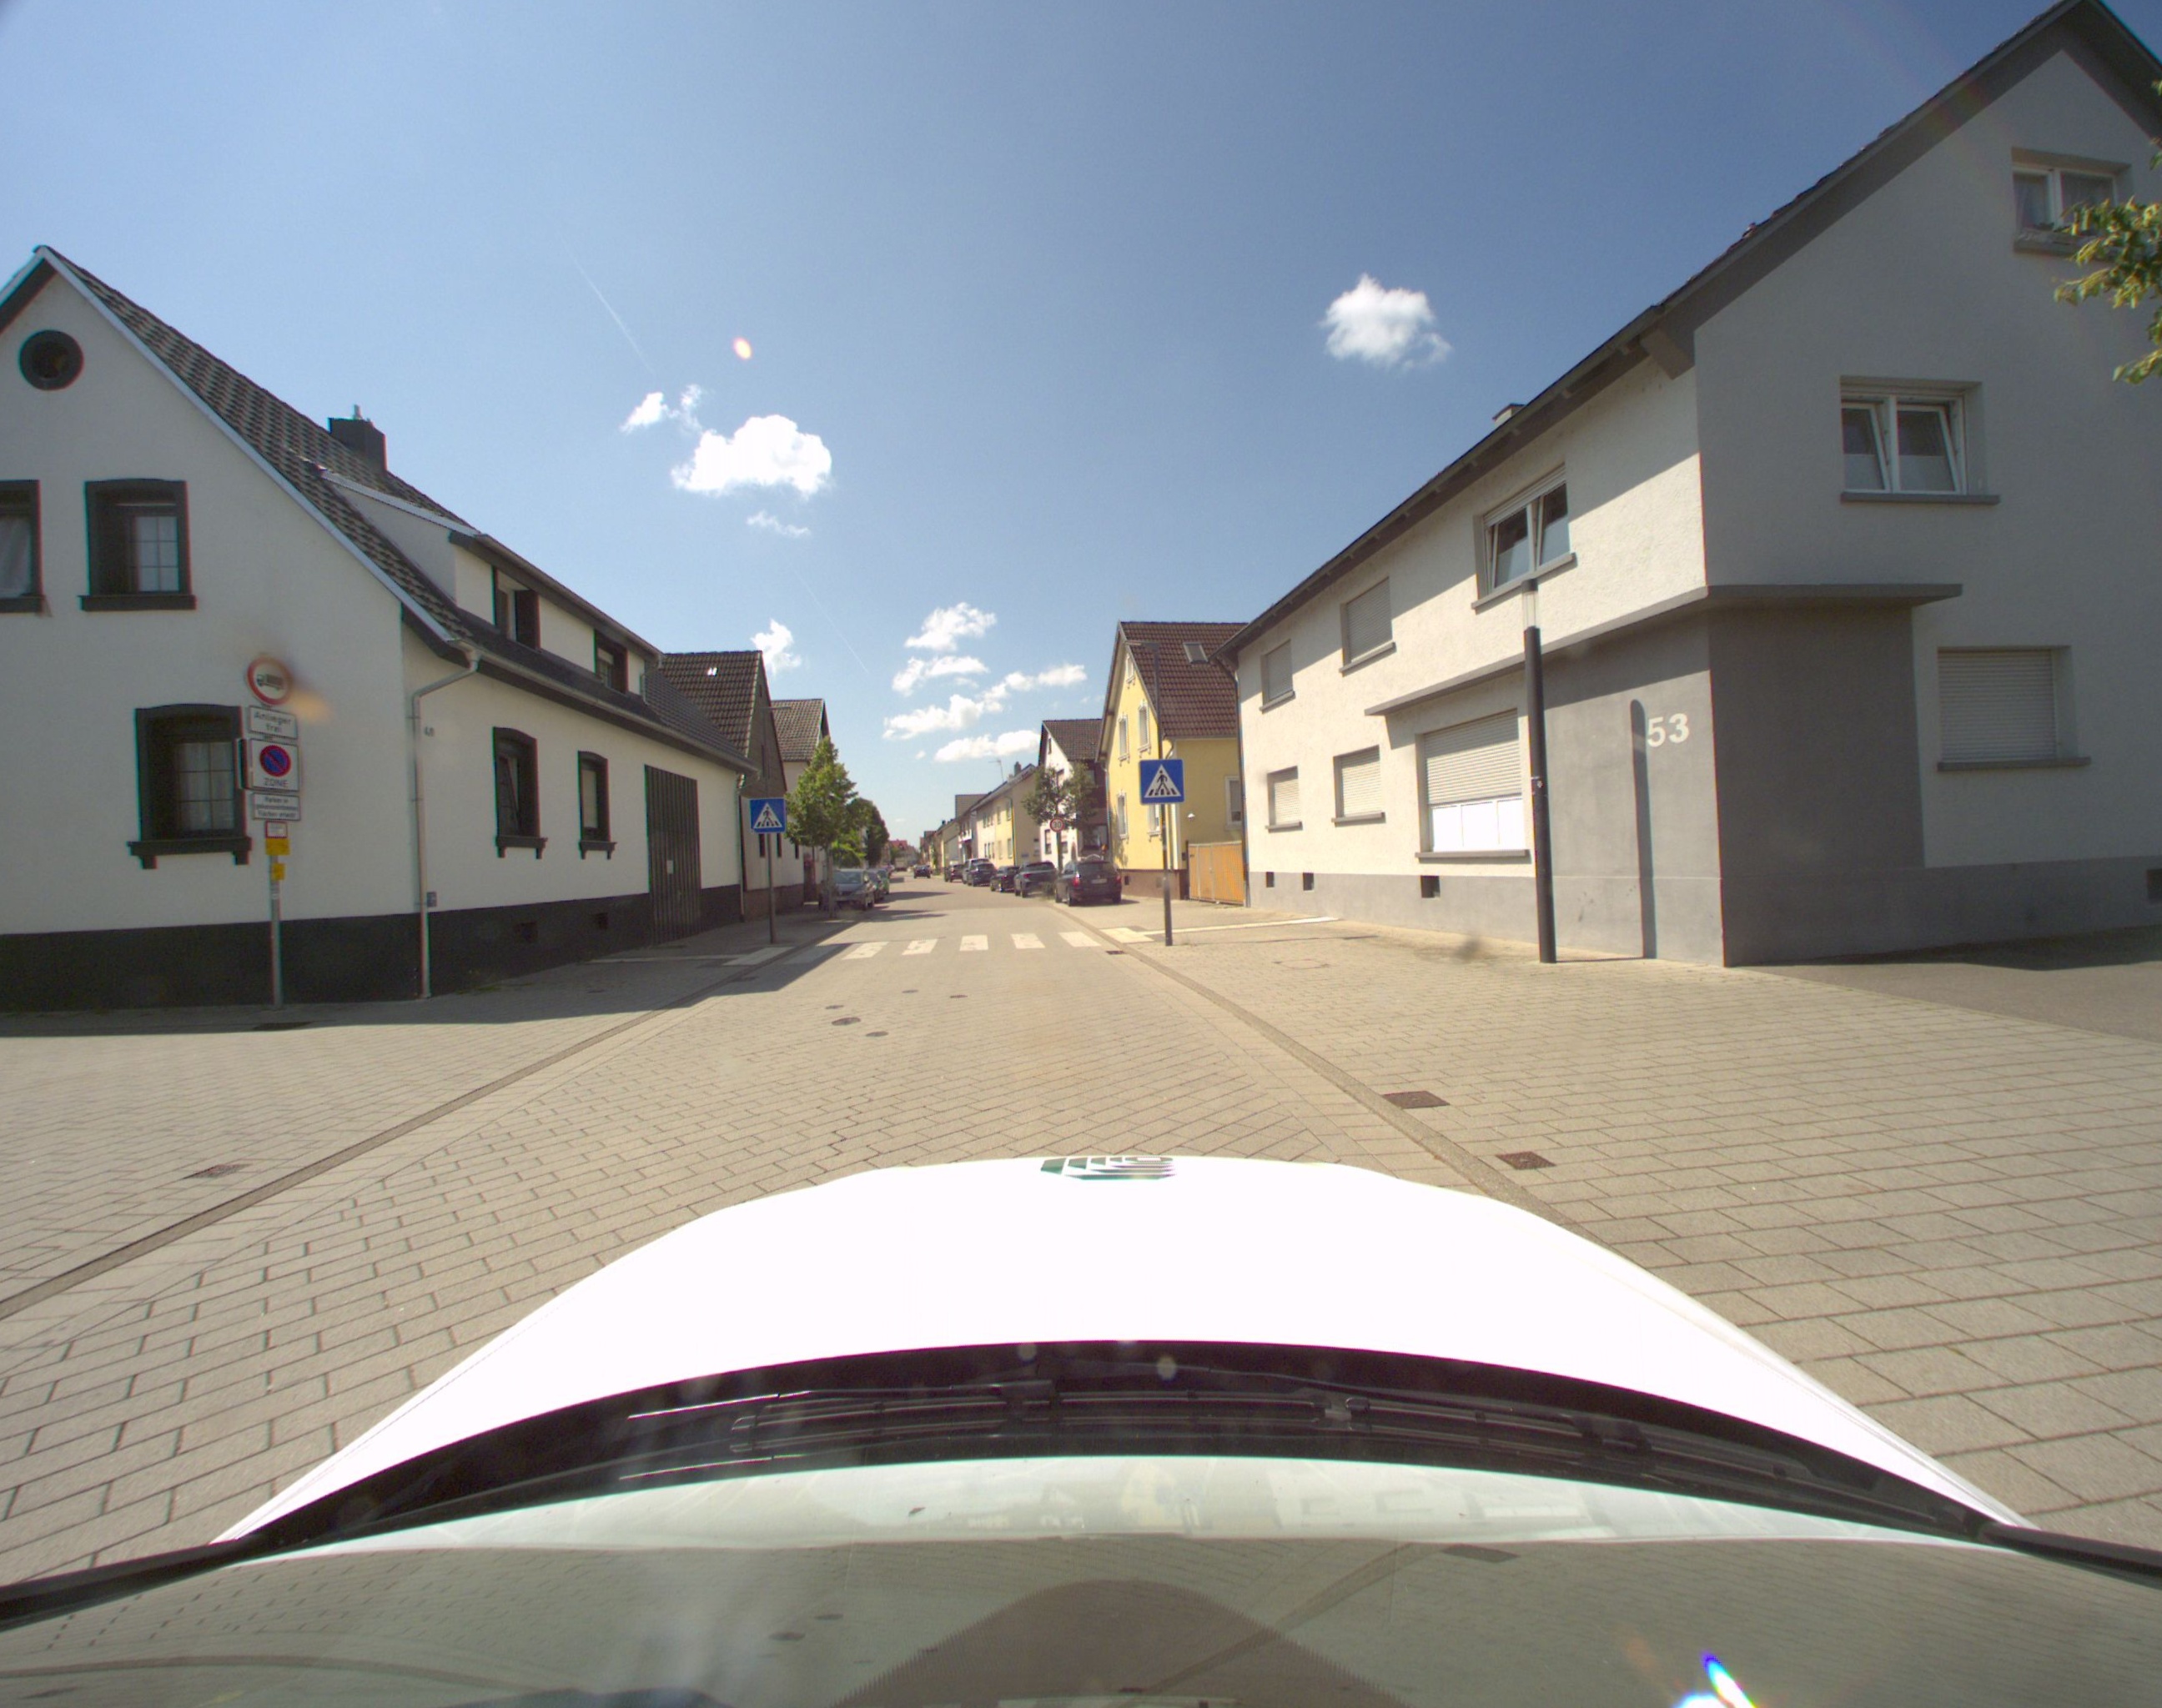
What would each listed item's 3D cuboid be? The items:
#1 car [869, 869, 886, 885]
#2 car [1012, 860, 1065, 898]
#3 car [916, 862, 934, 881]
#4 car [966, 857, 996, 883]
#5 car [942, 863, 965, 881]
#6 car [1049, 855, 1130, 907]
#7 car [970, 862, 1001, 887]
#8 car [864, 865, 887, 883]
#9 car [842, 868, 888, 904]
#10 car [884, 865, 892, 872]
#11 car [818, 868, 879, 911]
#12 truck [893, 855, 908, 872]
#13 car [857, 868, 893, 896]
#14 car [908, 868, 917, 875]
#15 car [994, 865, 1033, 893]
[{"bbox_3d":[-23.812,2.712,95.349,1.684,1.758,3.601,-3,0,-12],"label":"car"},{"bbox_3d":[-1.997,1.094,37.019,1.847,1.562,3.679,-3,0,-11],"label":"car"},{"bbox_3d":[-18.528,2.053,96.610,1.995,2.058,4.356,-3,0,-12],"label":"car"},{"bbox_3d":[-7.832,1.239,63.482,1.908,1.871,3.984,-3,0,-11],"label":"car"},{"bbox_3d":[-11.303,1.575,72.061,1.755,1.493,3.984,-3,0,-11],"label":"car"},{"bbox_3d":[0.192,0.884,27.714,1.830,1.471,4.259,-5,0,-11],"label":"car"},{"bbox_3d":[-6.818,1.424,57.851,1.878,1.591,3.984,-3,0,-11],"label":"car"},{"bbox_3d":[-20.785,1.967,82.522,1.995,1.662,3.984,-3,0,-12],"label":"car"},{"bbox_3d":[-10.114,1.457,38.356,1.751,1.532,4.244,-1,0,-10],"label":"car"},{"bbox_3d":[-50.112,3.671,211.915,1.848,1.707,3.704,-3,0,-12],"label":"car"},{"bbox_3d":[-9.054,1.337,31.990,1.746,1.530,3.988,-1,0,-8],"label":"car"},{"bbox_3d":[-46.715,2.496,210.602,3.570,3.953,8.539,-3,0,-14],"label":"truck"},{"bbox_3d":[-12.222,1.656,48.453,1.794,1.475,3.855,-3,0,-12],"label":"car"},{"bbox_3d":[-37.719,3.808,182.272,1.690,1.452,3.775,-3,0,-14],"label":"car"},{"bbox_3d":[-3.729,1.326,44.512,1.712,1.387,3.691,-3,0,-11],"label":"car"}]
